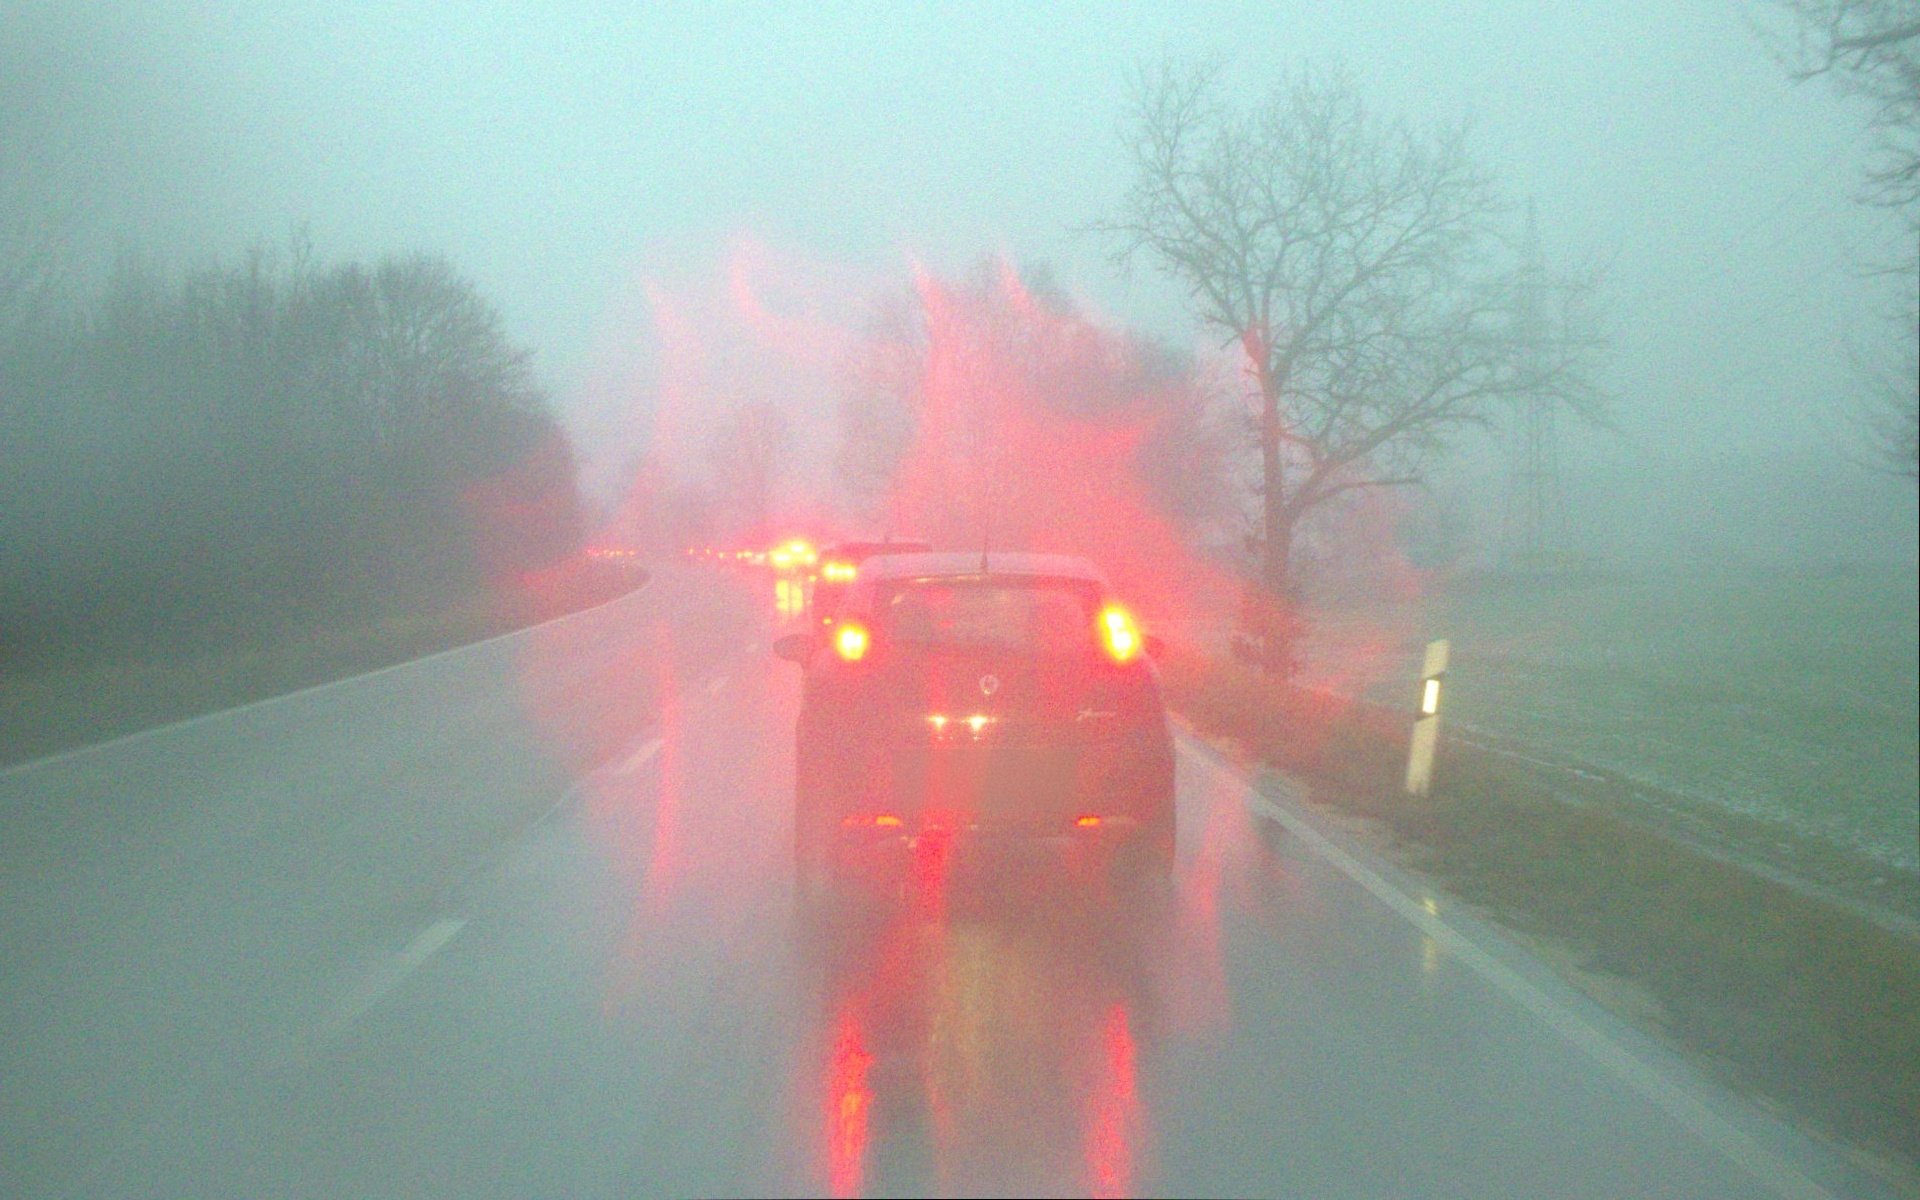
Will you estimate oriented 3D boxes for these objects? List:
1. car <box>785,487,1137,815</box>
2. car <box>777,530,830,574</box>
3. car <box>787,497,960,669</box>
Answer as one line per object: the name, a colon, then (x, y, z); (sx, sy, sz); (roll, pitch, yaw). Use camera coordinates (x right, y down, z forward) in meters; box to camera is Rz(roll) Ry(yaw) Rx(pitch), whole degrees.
car: (0.065, 0.192, 16.407); (1.500, 1.393, 3.199); (1, 1, 2)
car: (-6.253, -1.950, 137.723); (1.863, 1.694, 4.468); (1, 1, 0)
car: (-1.022, -0.237, 42.549); (1.852, 2.007, 4.000); (1, 1, 2)
